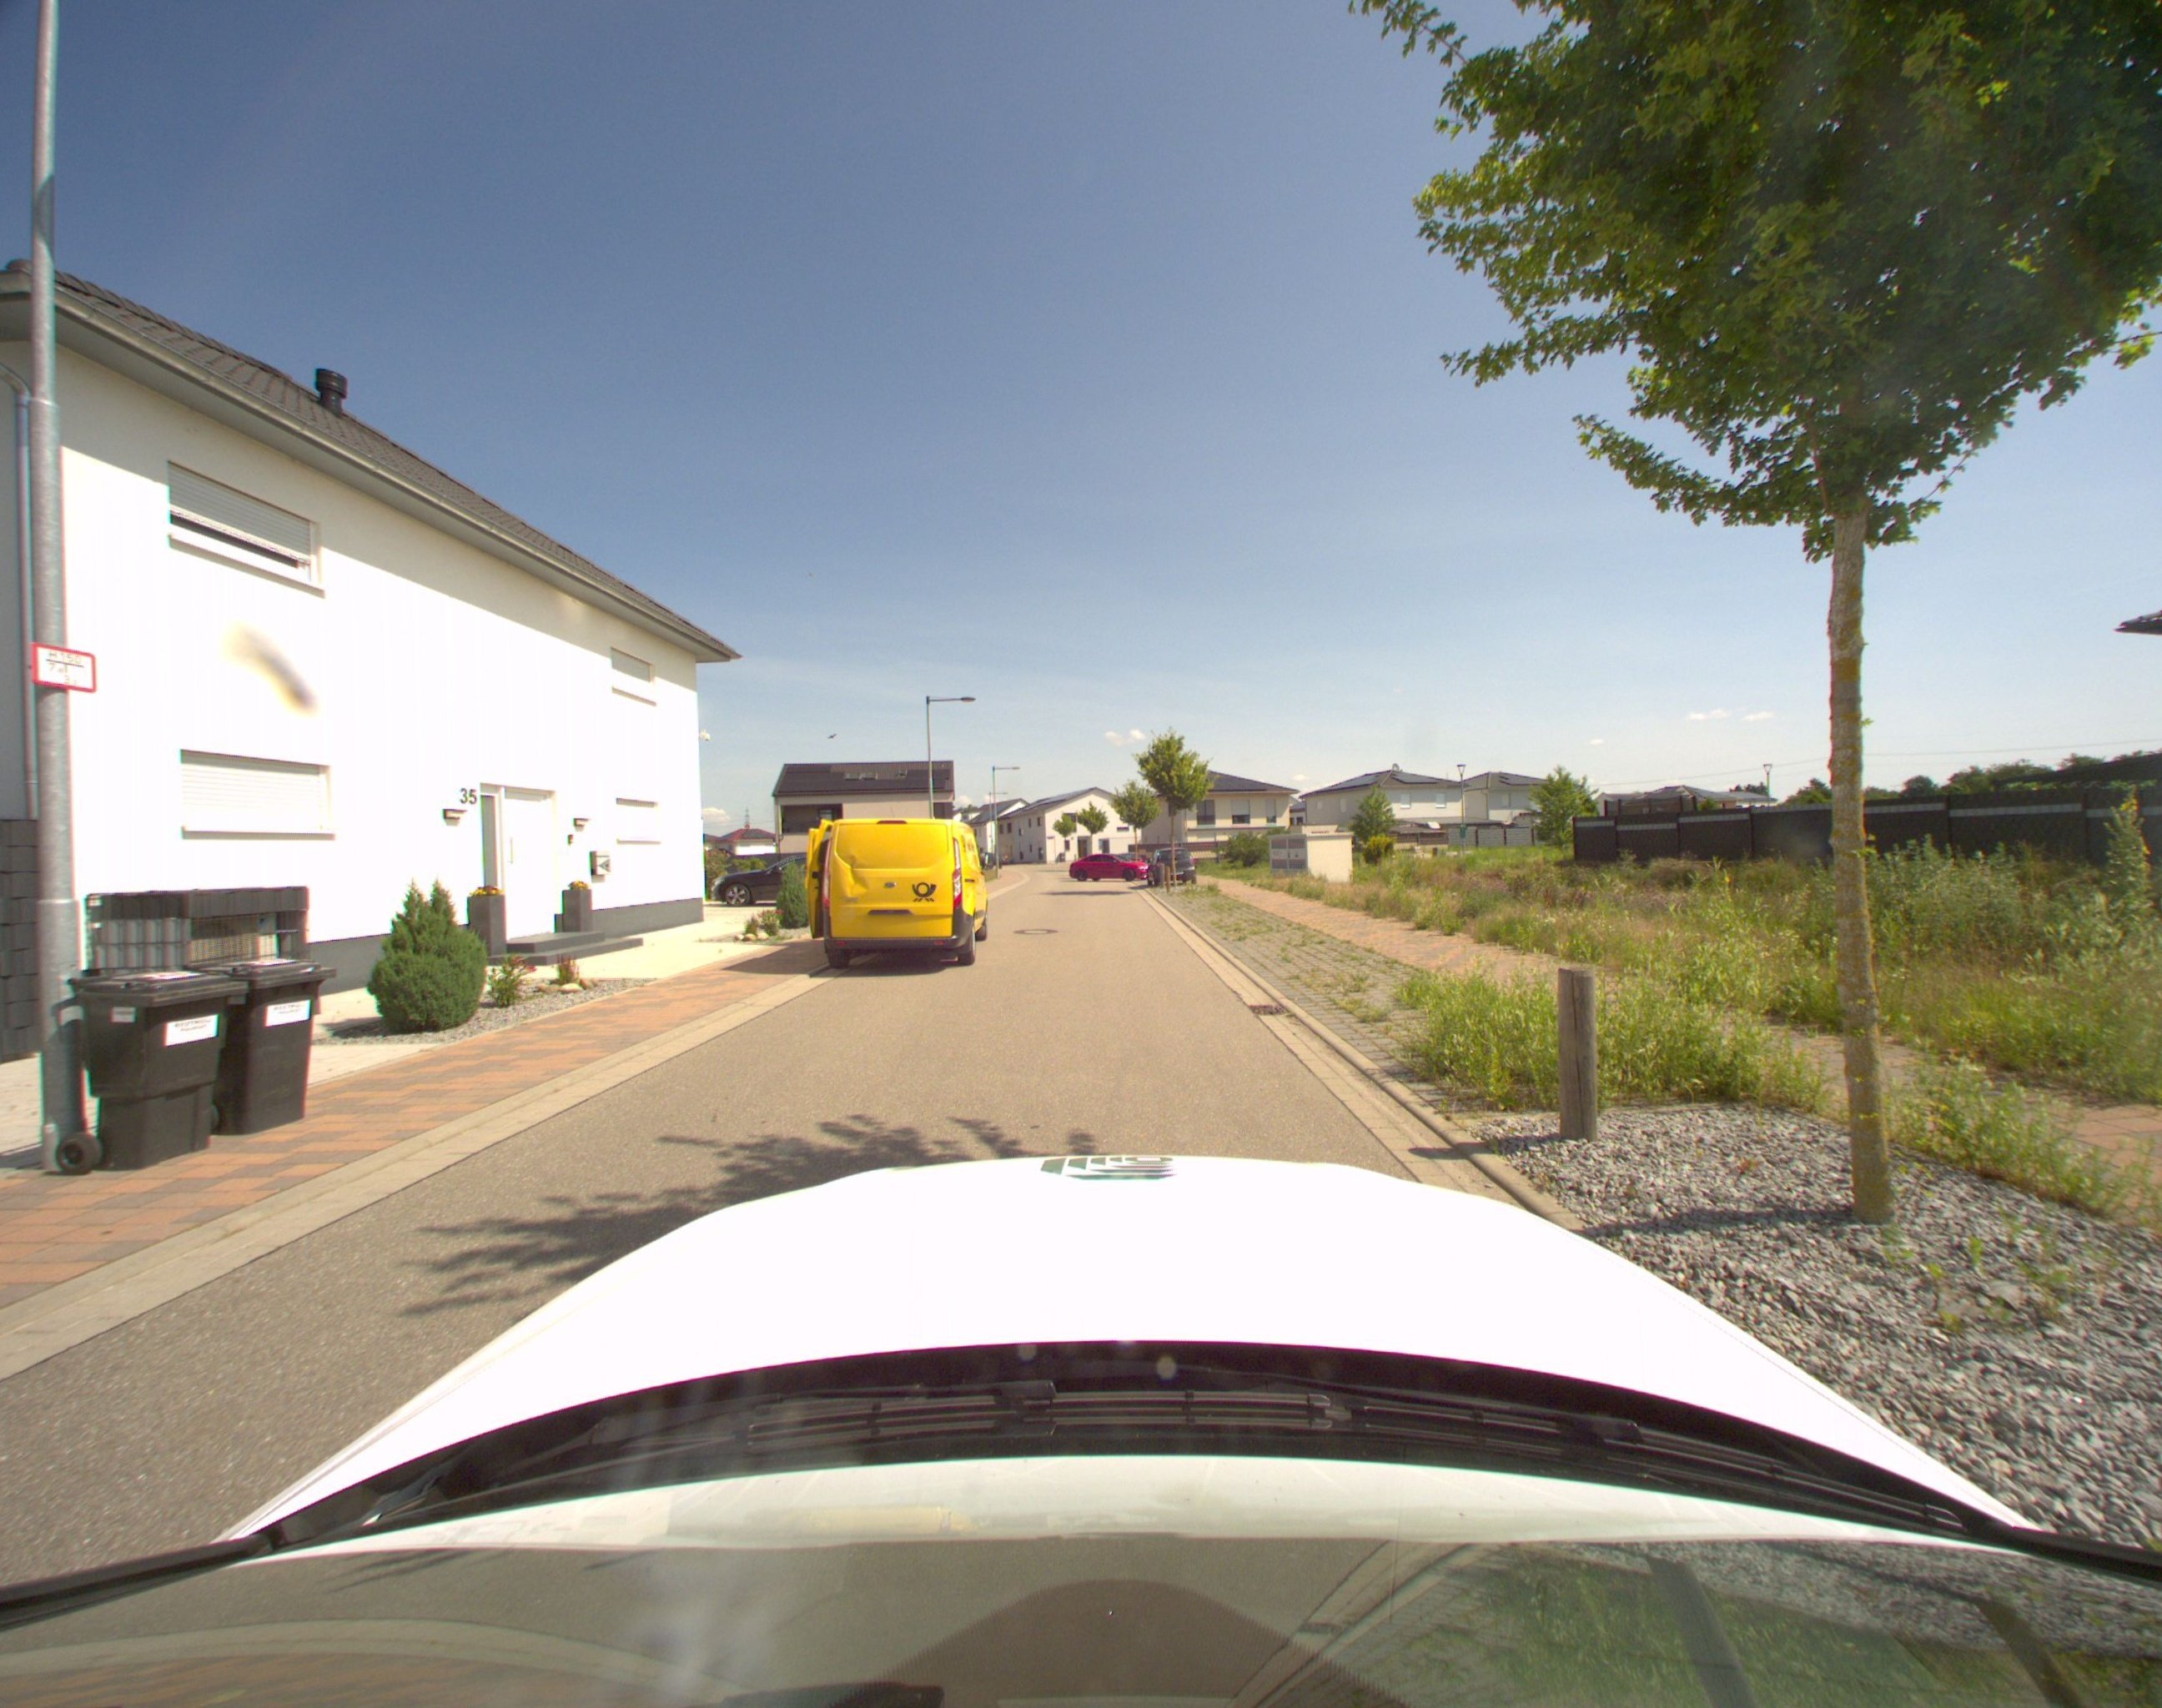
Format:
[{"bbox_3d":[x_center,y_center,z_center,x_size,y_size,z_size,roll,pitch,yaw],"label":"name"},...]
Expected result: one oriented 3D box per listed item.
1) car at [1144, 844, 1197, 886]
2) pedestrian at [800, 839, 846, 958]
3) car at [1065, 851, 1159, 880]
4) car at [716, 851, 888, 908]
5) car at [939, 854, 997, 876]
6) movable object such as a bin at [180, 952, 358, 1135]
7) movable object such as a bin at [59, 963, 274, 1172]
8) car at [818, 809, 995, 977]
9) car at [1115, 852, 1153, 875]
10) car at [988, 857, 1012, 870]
[{"bbox_3d":[3.485,0.399,32.351,1.593,1.475,3.673,-4,0,-1],"label":"car"},{"bbox_3d":[-3.860,0.642,12.215,0.530,1.738,0.569,0,0,-6],"label":"pedestrian"},{"bbox_3d":[1.571,0.603,41.787,4.463,1.438,1.779,-1,0,27],"label":"car"},{"bbox_3d":[-7.694,0.666,22.877,4.397,1.452,1.741,-1,0,-13],"label":"car"},{"bbox_3d":[-8.737,0.847,63.138,4.373,1.631,1.766,1,0,-8],"label":"car"},{"bbox_3d":[-4.717,1.076,4.762,0.485,0.925,0.530,-2,0,-2],"label":"movable object such as a bin"},{"bbox_3d":[-4.706,1.070,4.221,0.485,0.925,0.530,-2,0,-2],"label":"movable object such as a bin"},{"bbox_3d":[-2.430,0.481,12.602,1.880,2.013,4.835,-3,0,-3],"label":"car"},{"bbox_3d":[3.314,0.587,51.340,1.751,1.363,4.568,-1,0,-5],"label":"car"},{"bbox_3d":[-9.276,1.106,93.172,1.732,1.422,3.974,-3,0,-19],"label":"car"}]
